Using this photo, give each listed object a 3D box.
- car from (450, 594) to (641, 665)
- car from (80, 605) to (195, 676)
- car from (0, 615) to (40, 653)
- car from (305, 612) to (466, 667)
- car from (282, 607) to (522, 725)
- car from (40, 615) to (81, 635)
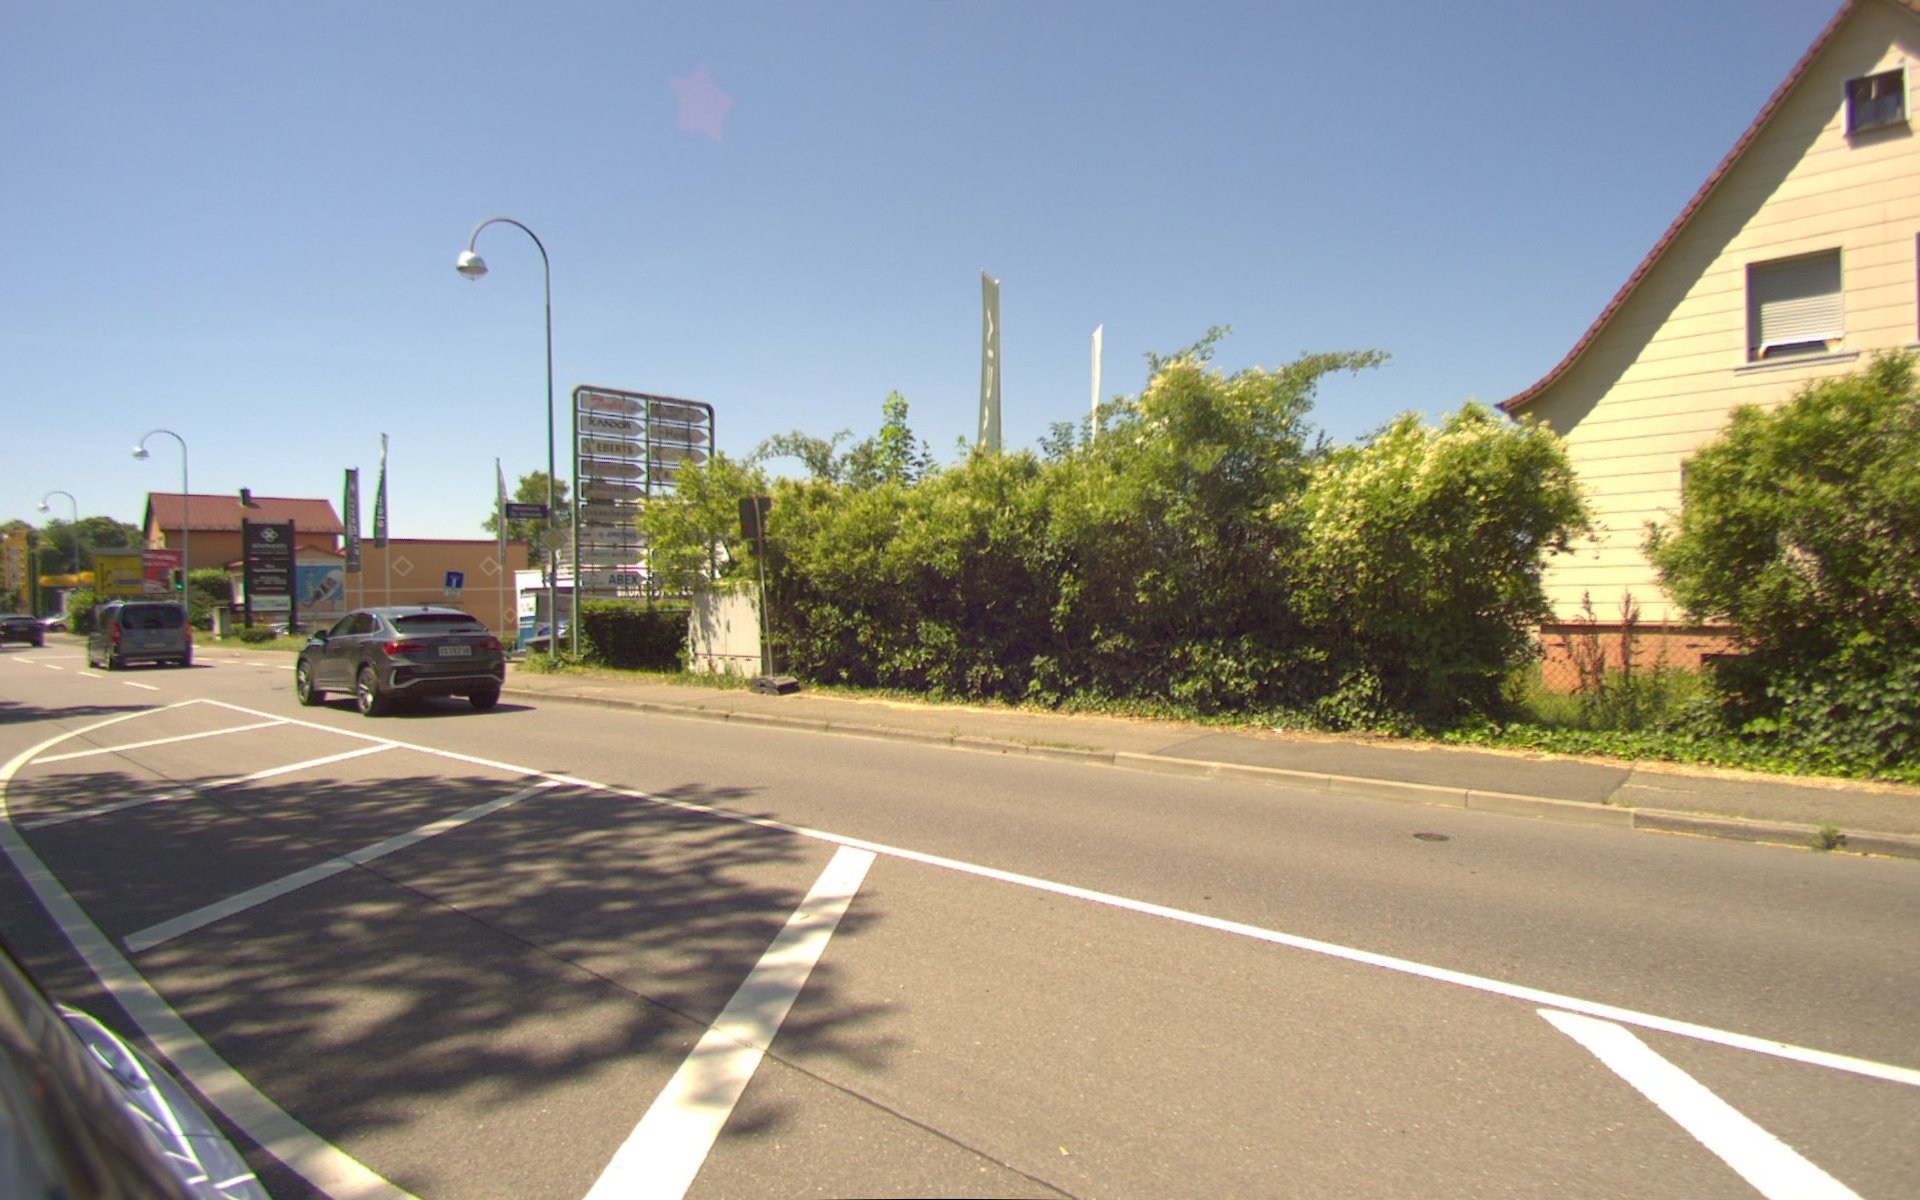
[{"bbox_3d":[-14.094,0.931,34.600,5.627,2.145,2.179,-2,0,-40],"label":"car"},{"bbox_3d":[-22.472,1.048,27.589,4.321,1.754,1.859,-1,0,43],"label":"car"},{"bbox_3d":[-44.316,1.566,47.091,4.321,1.645,1.859,-1,0,43],"label":"car"},{"bbox_3d":[-17.932,1.190,31.699,4.247,1.561,1.891,-1,0,-31],"label":"car"},{"bbox_3d":[-8.748,0.923,15.723,4.318,1.561,1.860,-1,0,40],"label":"car"},{"bbox_3d":[-71.362,1.978,80.337,1.967,1.431,4.010,-2,1,-35],"label":"car"}]
